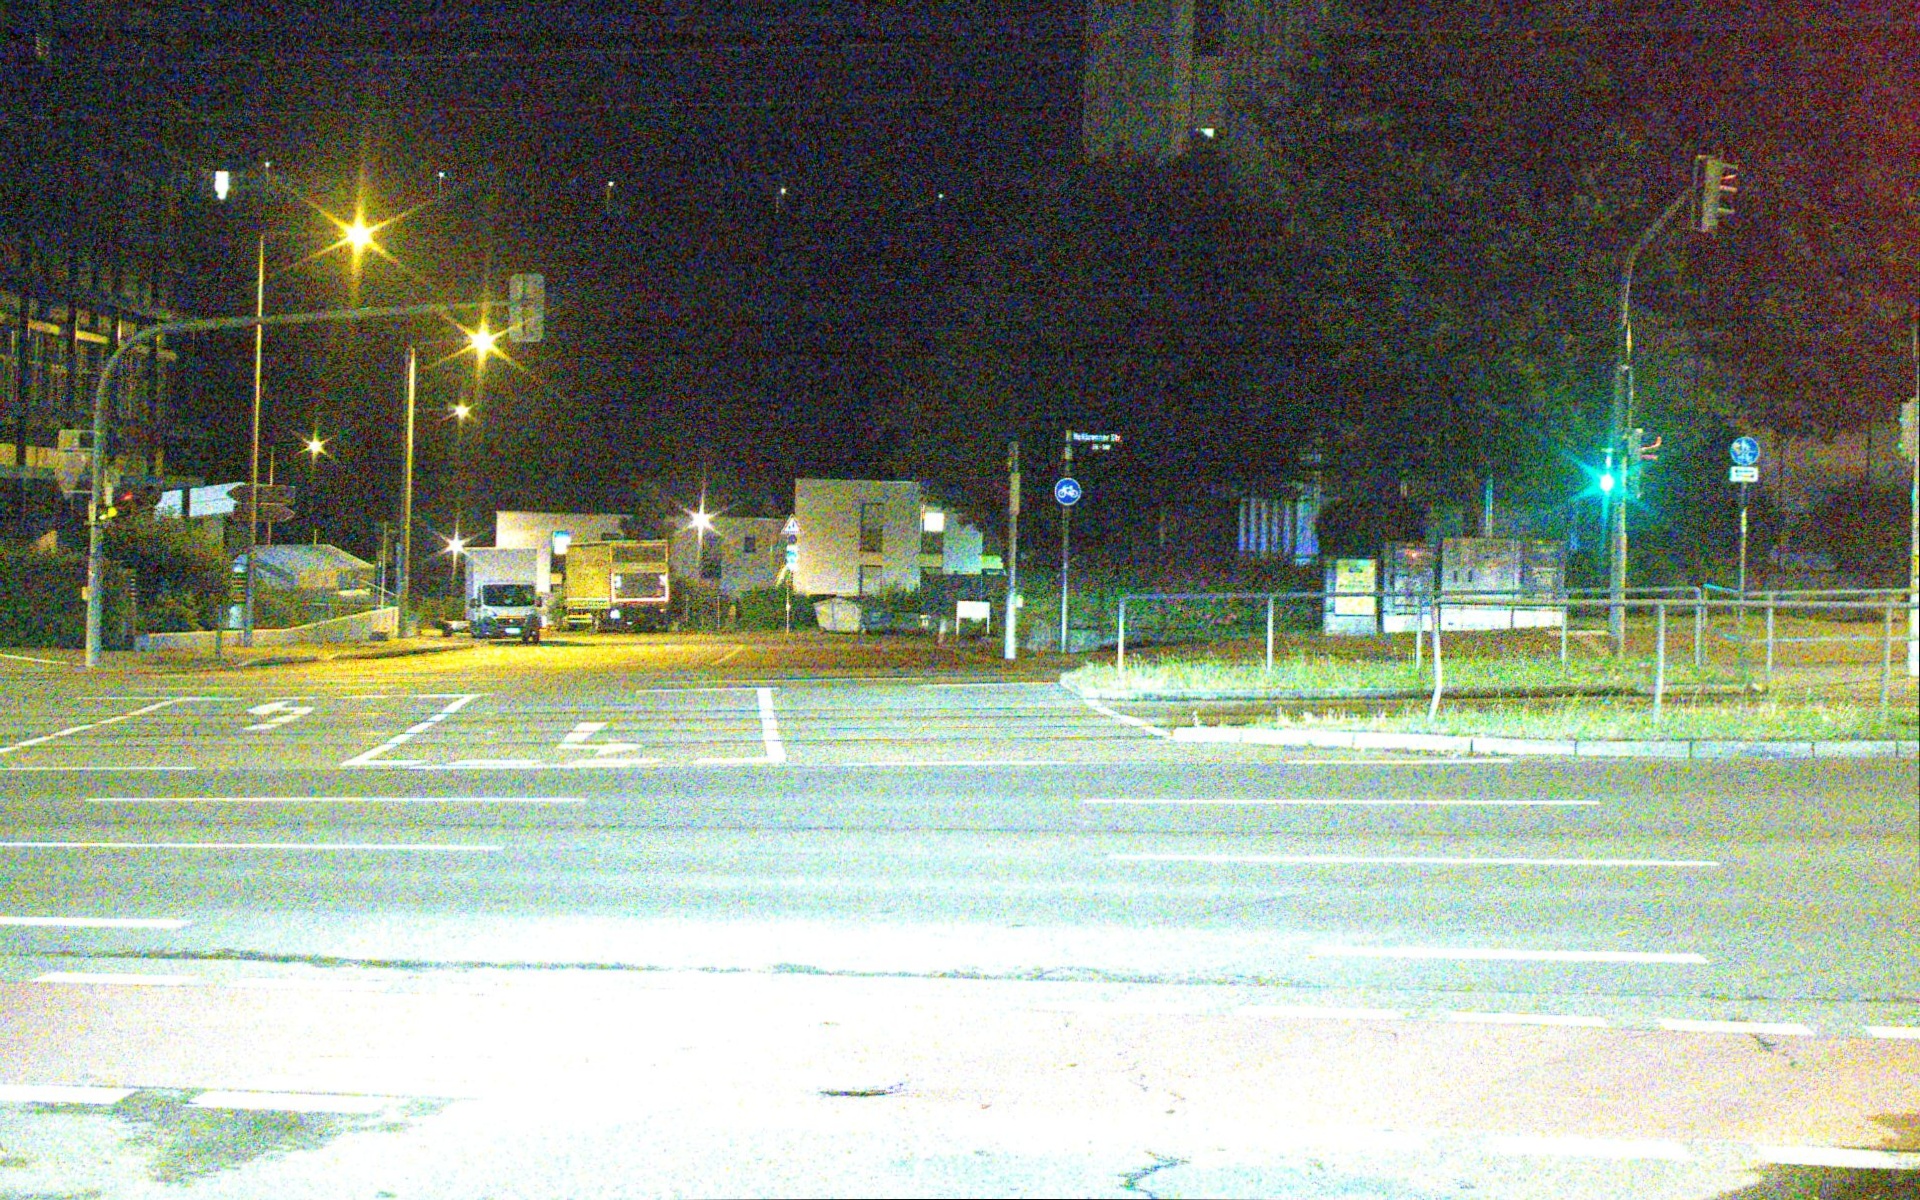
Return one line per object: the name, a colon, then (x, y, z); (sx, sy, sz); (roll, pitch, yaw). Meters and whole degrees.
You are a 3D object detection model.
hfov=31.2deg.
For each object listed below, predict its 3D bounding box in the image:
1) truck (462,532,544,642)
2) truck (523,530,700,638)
truck: (-15.888, -0.470, 119.296); (2.582, 3.694, 5.739); (1, 1, -9)
truck: (-15.459, -0.761, 151.248); (4.821, 4.531, 12.669); (1, 1, -19)
